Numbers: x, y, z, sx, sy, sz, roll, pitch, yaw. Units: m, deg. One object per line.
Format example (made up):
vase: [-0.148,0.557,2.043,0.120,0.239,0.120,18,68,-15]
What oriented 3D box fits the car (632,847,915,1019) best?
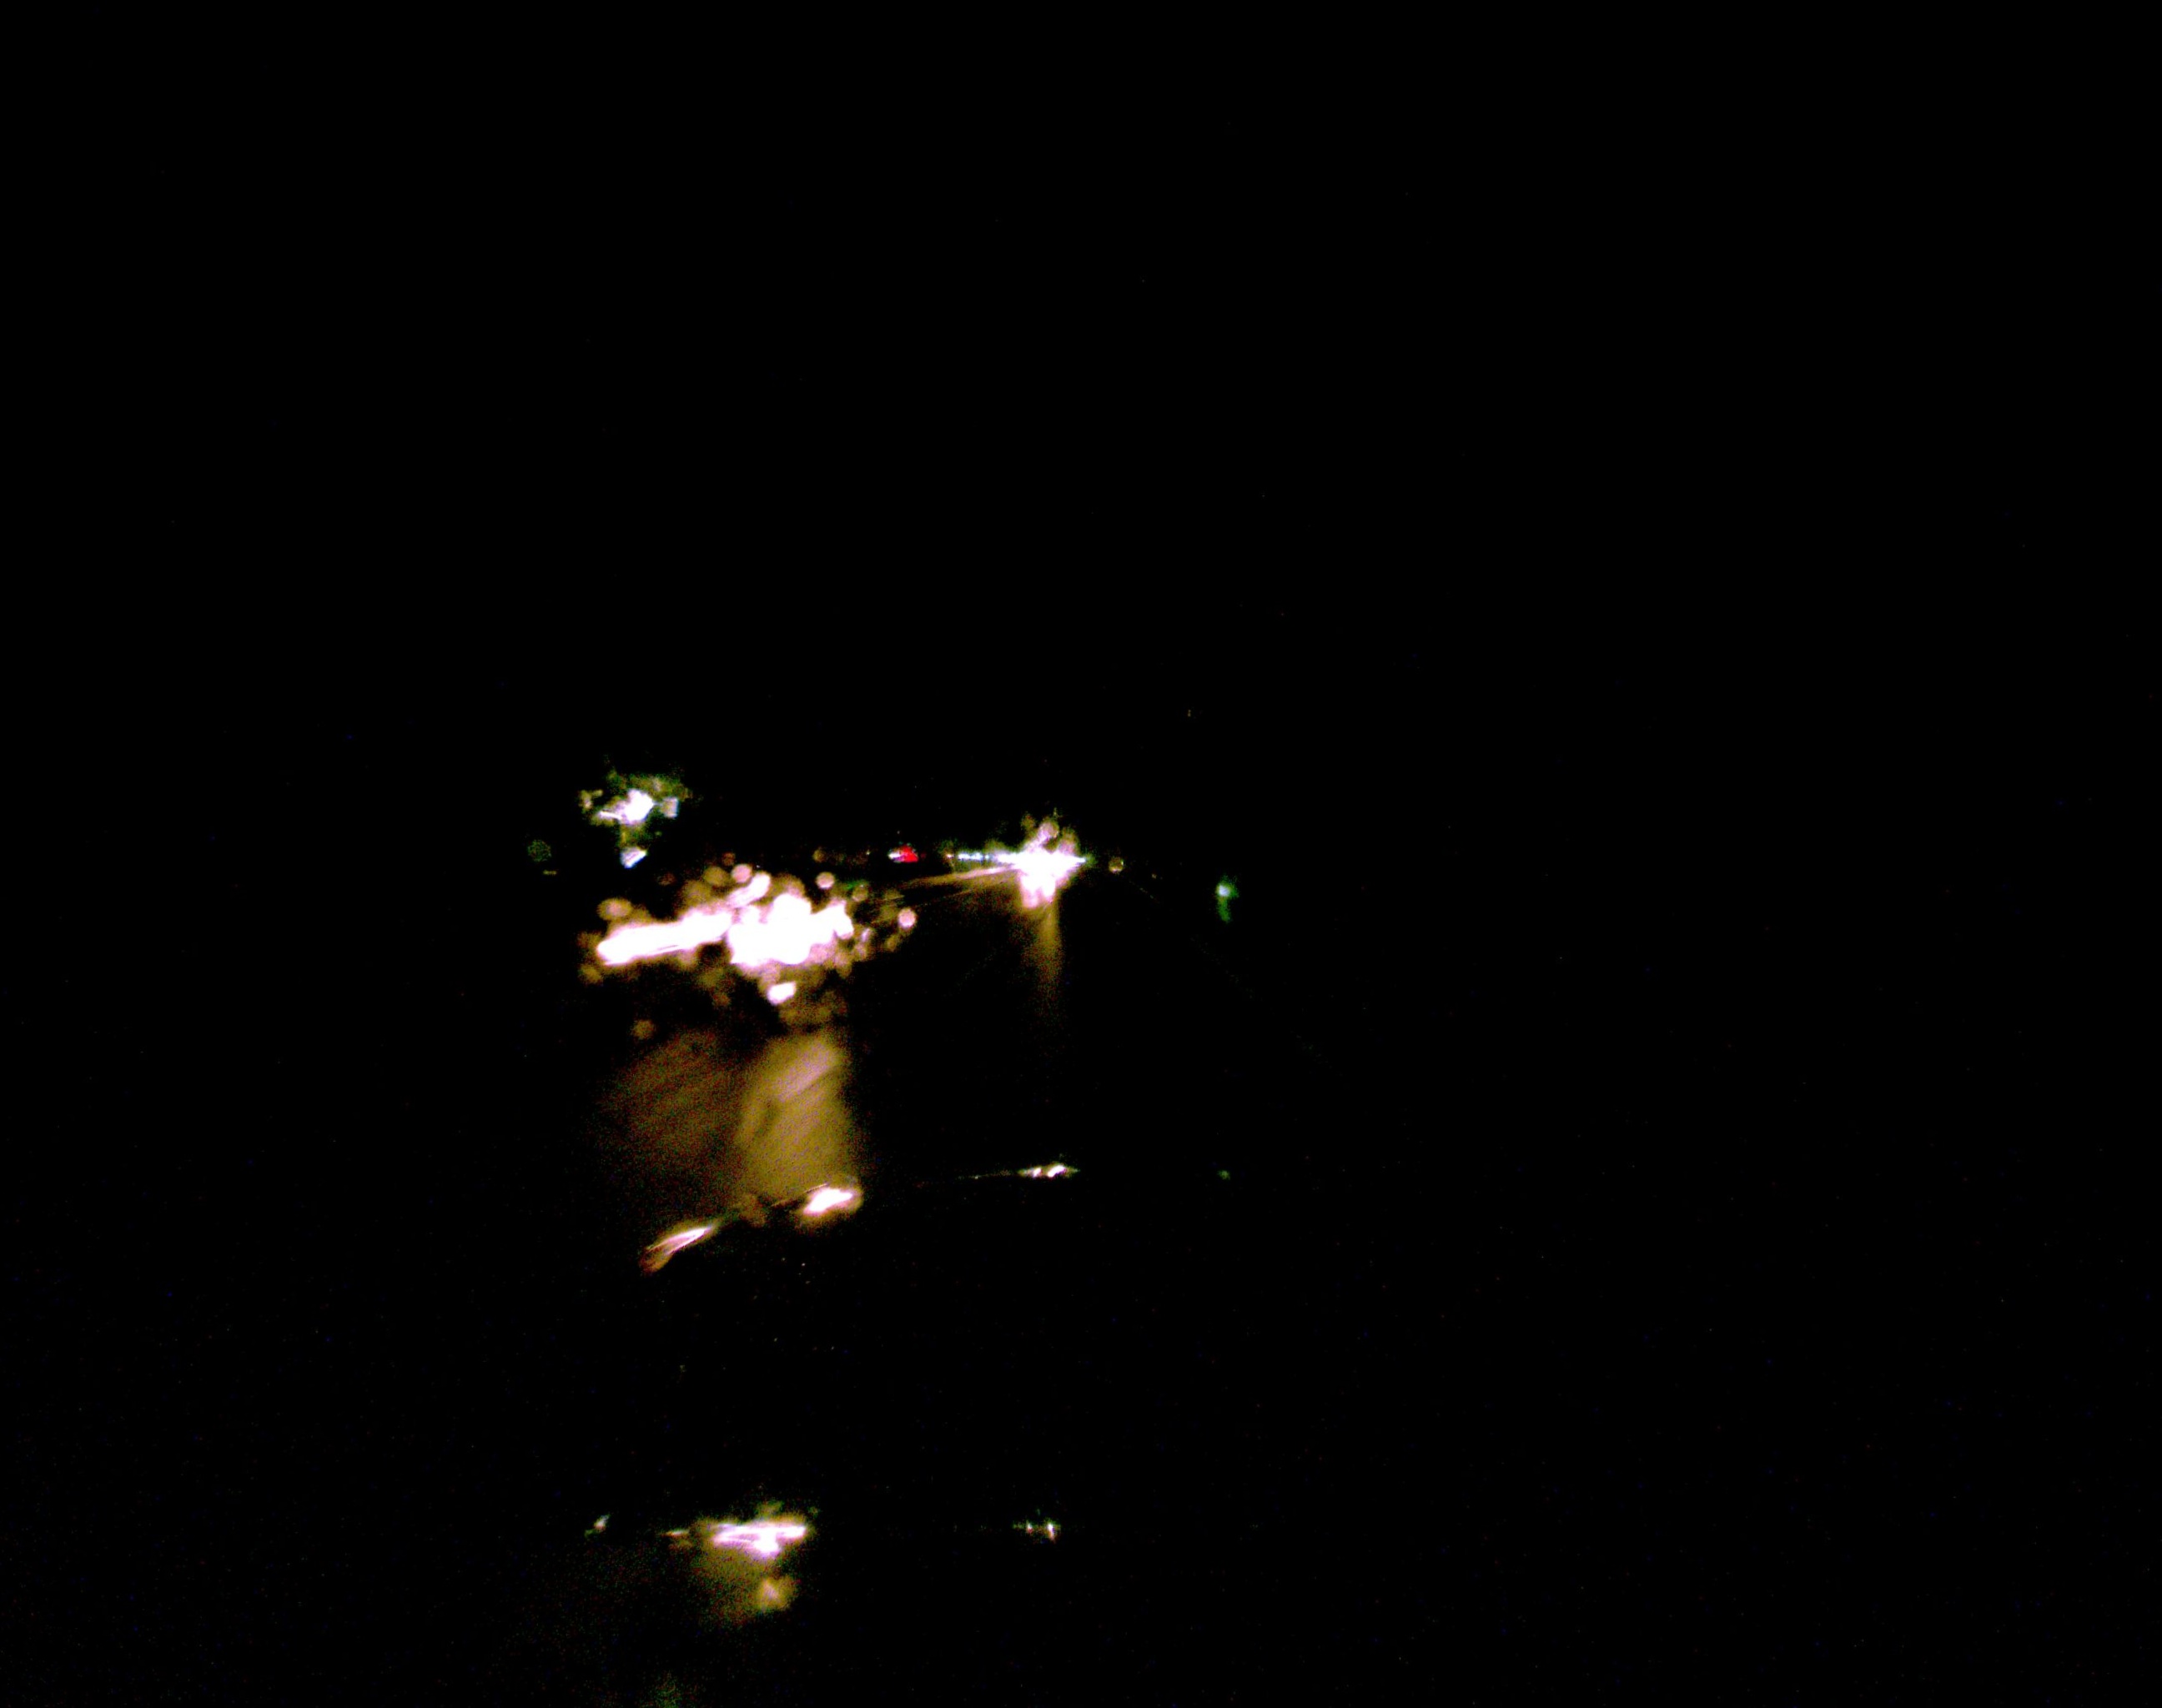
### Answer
car: [-3.312,0.768,9.616,1.820,1.618,3.729,-1,0,1]

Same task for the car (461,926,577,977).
car: [-23.823,4.100,34.739,1.801,1.676,4.295,-1,0,2]

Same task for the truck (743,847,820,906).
truck: [-25.569,1.886,69.939,3.310,4.796,7.331,-1,-1,6]

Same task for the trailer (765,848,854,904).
trailer: [-24.980,1.921,75.920,3.310,4.796,11.574,-1,0,6]

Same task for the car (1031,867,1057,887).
car: [-2.717,1.722,61.237,1.706,1.417,4.065,-1,0,1]
